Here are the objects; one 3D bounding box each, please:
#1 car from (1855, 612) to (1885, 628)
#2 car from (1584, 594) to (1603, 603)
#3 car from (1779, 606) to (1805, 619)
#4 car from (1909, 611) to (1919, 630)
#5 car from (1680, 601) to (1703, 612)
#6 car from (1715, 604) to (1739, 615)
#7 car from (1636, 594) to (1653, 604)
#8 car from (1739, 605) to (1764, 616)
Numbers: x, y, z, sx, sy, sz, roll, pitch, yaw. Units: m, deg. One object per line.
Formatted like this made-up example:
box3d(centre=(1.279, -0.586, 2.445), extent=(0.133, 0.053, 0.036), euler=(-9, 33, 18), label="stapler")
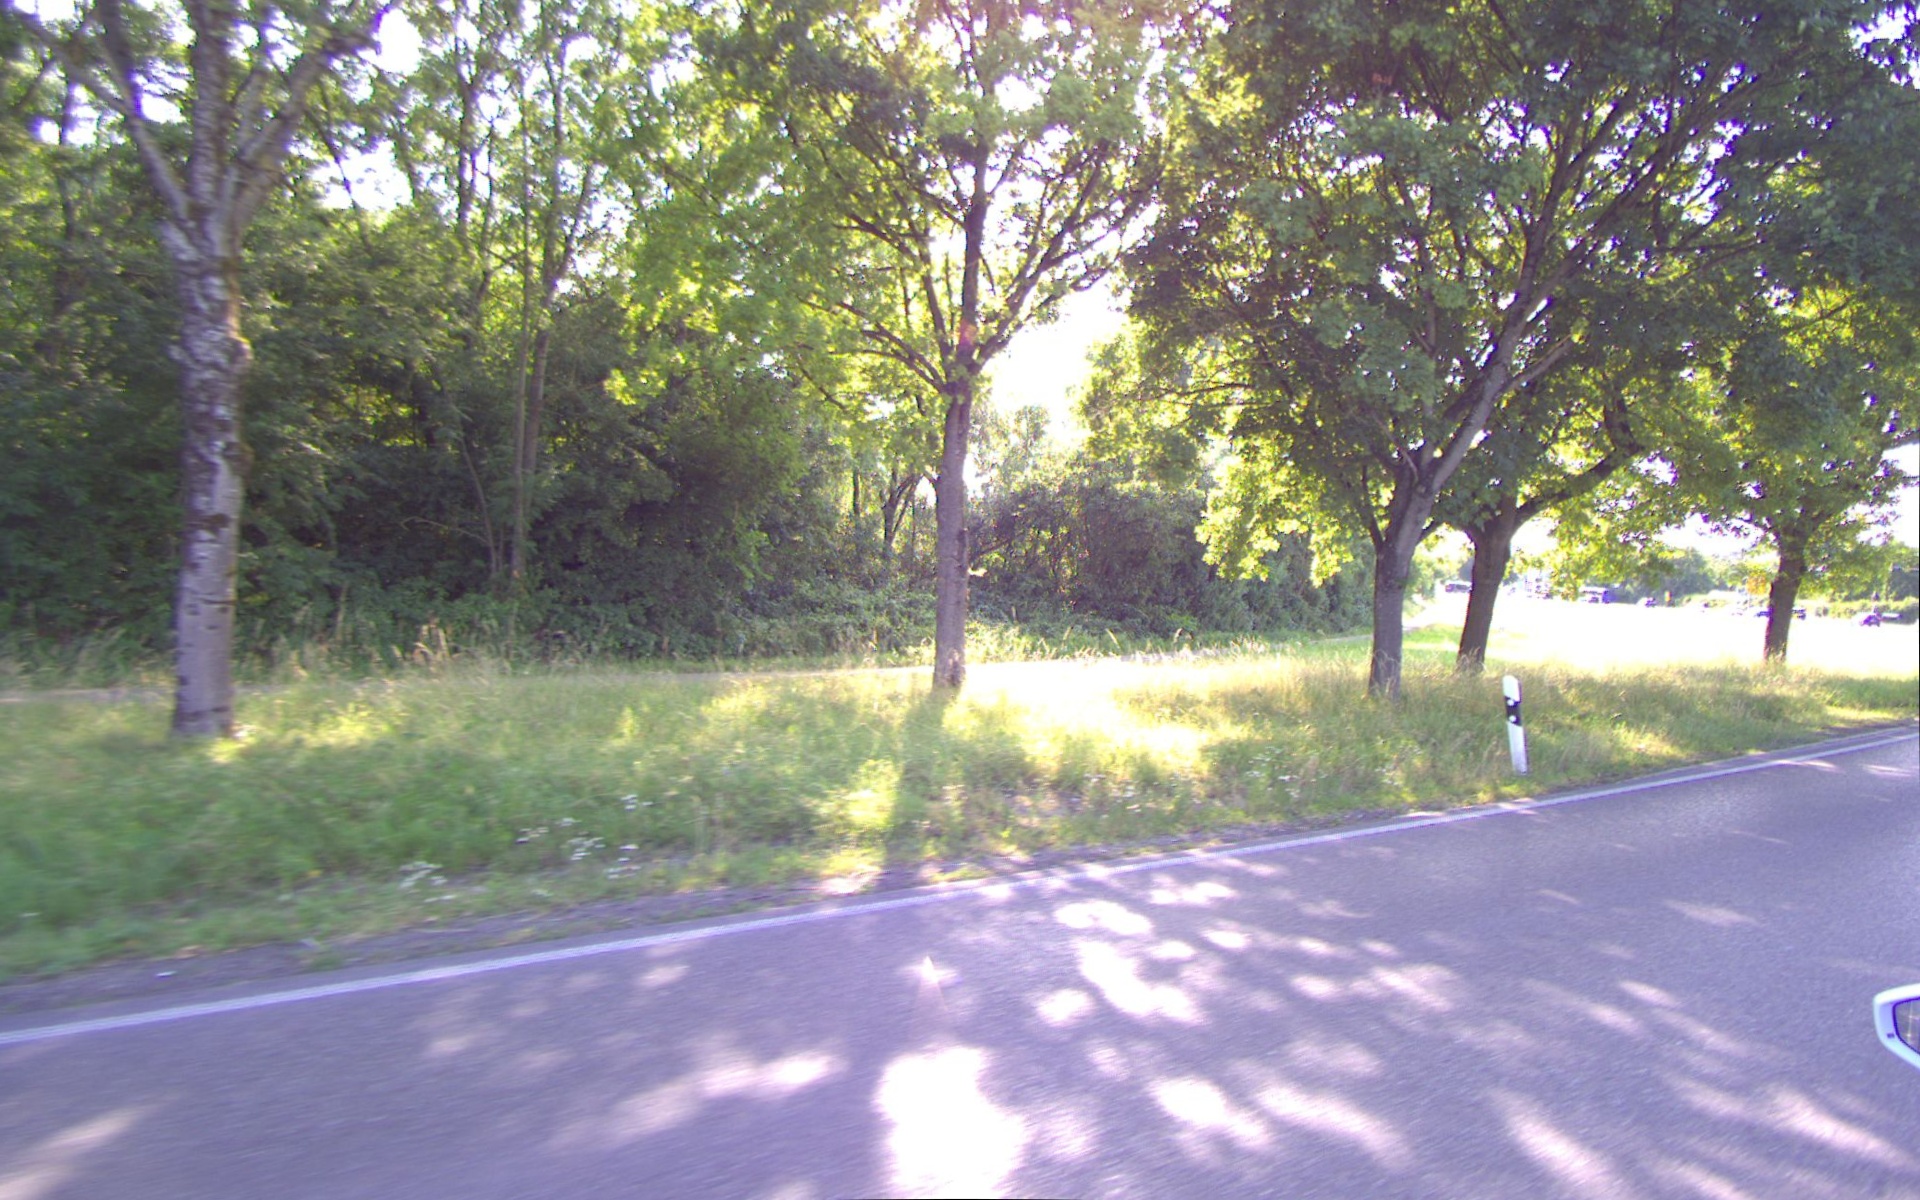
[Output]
box3d(centre=(99.865, 2.212, 110.297), extent=(1.496, 1.678, 3.866), euler=(2, 0, 28), label="car")
box3d(centre=(129.657, -0.337, 205.690), extent=(2.049, 1.621, 4.002), euler=(2, 1, 14), label="car")
box3d(centre=(110.413, 1.702, 133.308), extent=(1.495, 1.678, 3.871), euler=(2, 0, 23), label="car")
box3d(centre=(90.592, 1.955, 93.981), extent=(1.815, 1.678, 3.990), euler=(2, 0, 32), label="car")
box3d(centre=(120.935, 1.072, 166.057), extent=(1.943, 1.678, 3.873), euler=(2, 0, 18), label="car")
box3d(centre=(117.280, 1.455, 153.547), extent=(1.650, 1.579, 3.873), euler=(2, 0, 18), label="car")
box3d(centre=(126.463, -0.129, 185.629), extent=(1.698, 1.678, 3.873), euler=(2, 0, 19), label="car")
box3d(centre=(113.772, 1.520, 144.410), extent=(1.650, 1.579, 3.873), euler=(2, 0, 18), label="car")
